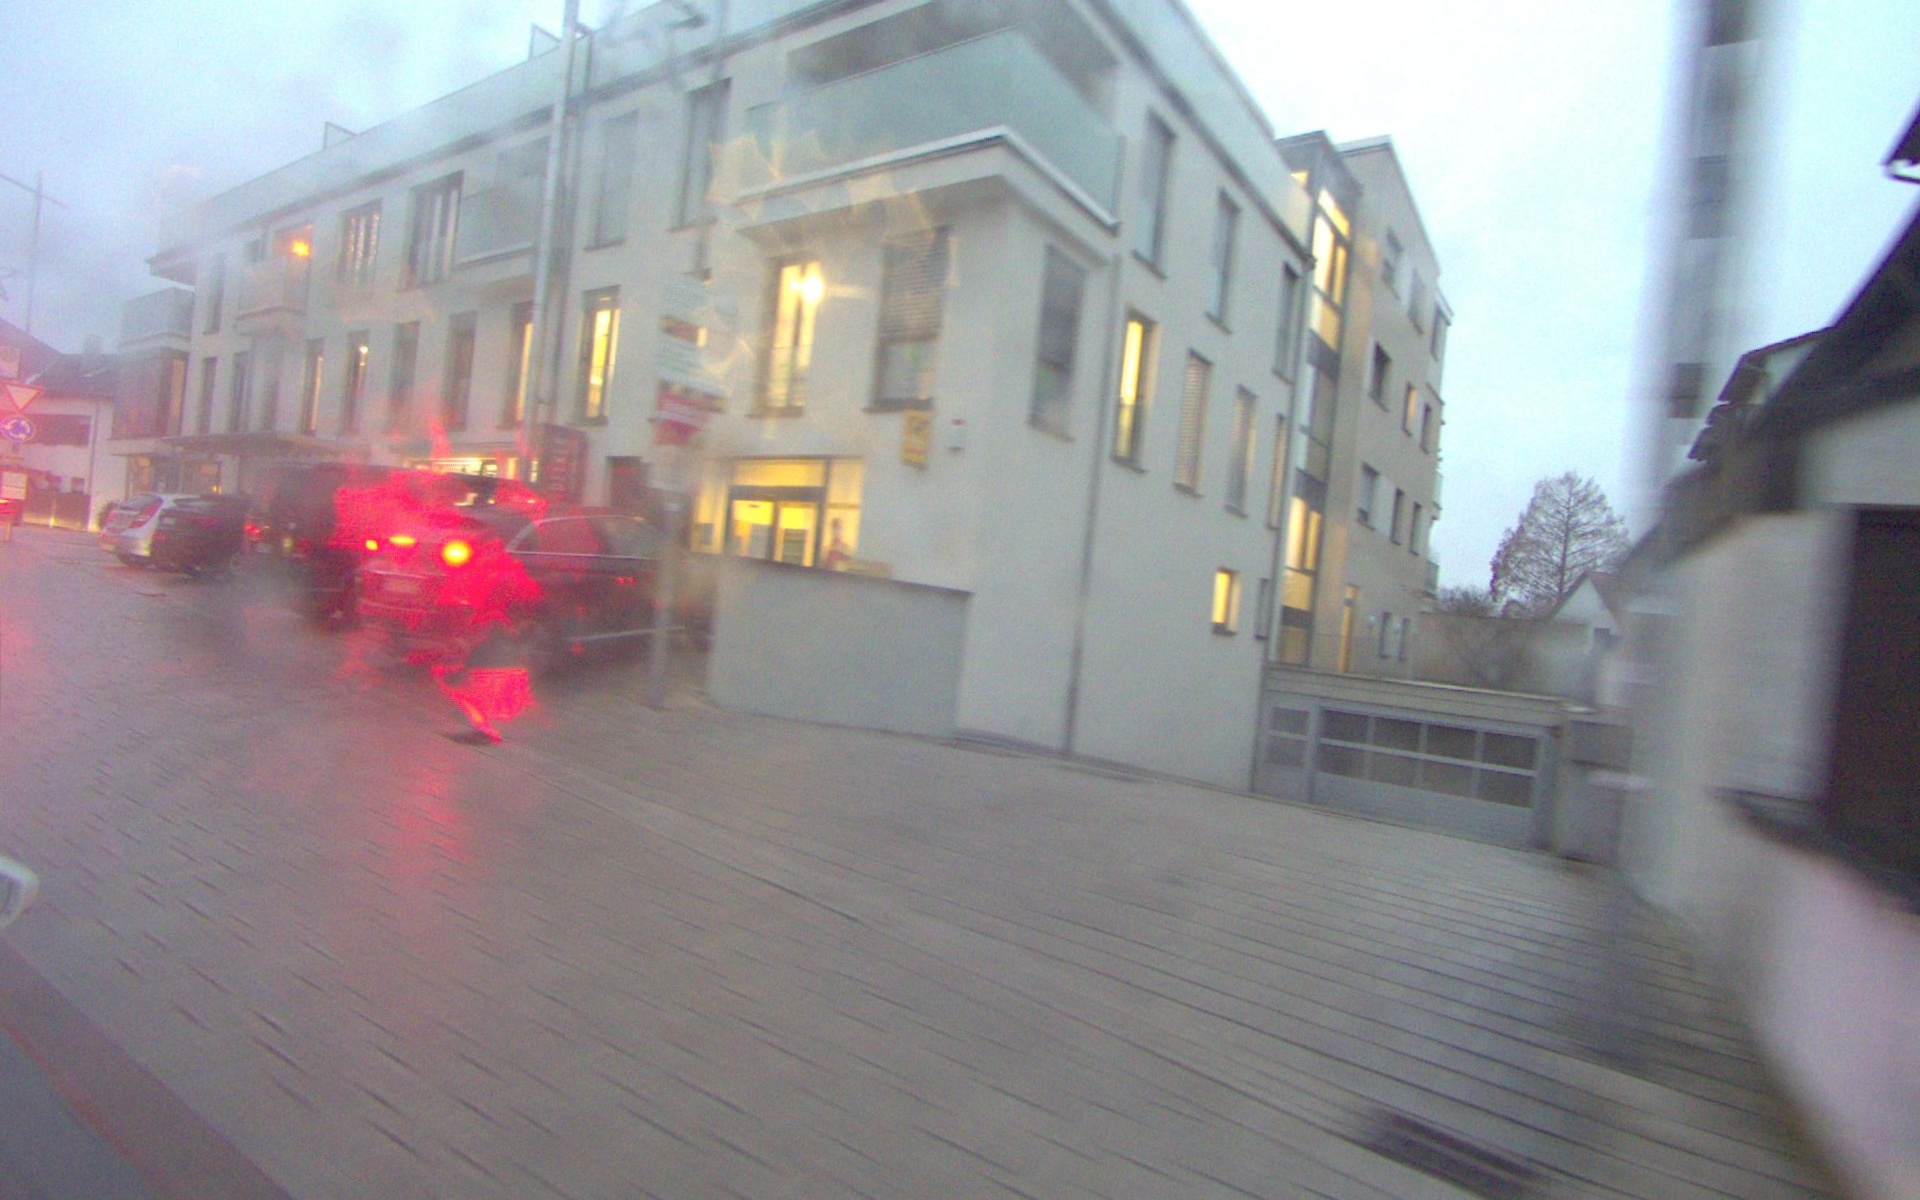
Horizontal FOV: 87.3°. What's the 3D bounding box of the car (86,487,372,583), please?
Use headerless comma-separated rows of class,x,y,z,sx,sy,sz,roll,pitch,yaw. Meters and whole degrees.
car,-14.318,-1.221,19.952,1.763,1.479,4.206,6,2,31

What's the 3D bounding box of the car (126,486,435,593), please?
car,-11.950,-1.008,17.992,1.763,1.479,4.206,6,2,31

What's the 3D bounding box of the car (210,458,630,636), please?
car,-6.927,-0.680,13.406,1.919,1.948,4.555,6,4,35

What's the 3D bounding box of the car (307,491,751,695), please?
car,-4.348,-0.193,10.843,1.773,1.664,4.172,7,6,29

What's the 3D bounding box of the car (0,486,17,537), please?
car,-40.955,-3.834,42.086,2.149,2.018,4.443,2,3,-44
